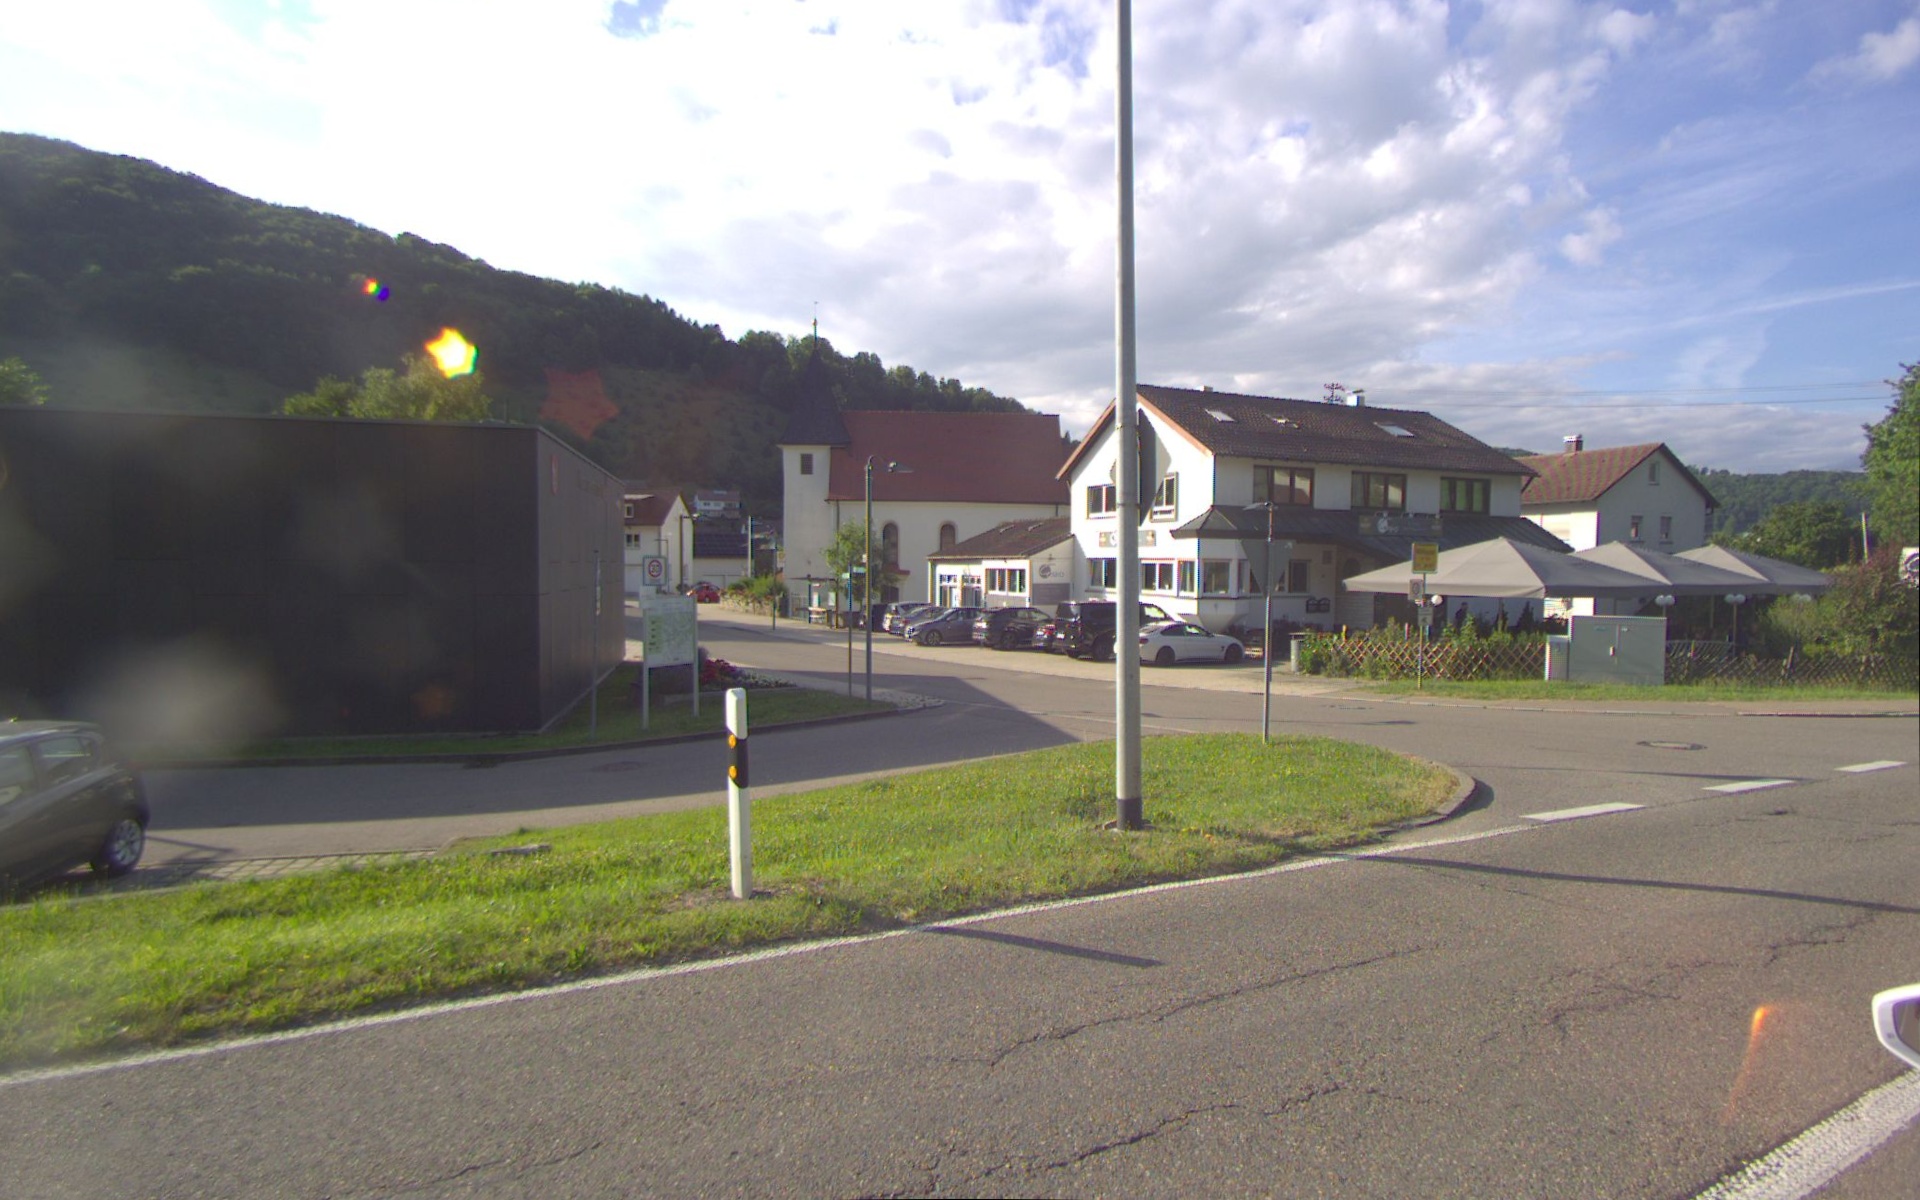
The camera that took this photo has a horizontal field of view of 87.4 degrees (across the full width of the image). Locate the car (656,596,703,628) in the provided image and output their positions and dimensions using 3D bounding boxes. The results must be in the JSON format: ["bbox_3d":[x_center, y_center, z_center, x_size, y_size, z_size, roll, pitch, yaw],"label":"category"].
[{"bbox_3d":[-15.562,0.625,55.640,1.867,1.706,3.974,0,0,-26],"label":"car"}]

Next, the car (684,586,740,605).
[{"bbox_3d":[-19.974,-0.373,81.043,1.972,1.528,3.977,1,0,43],"label":"car"}]

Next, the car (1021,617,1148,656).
[{"bbox_3d":[4.770,1.369,38.304,4.518,1.408,1.986,1,-1,-27],"label":"car"}]

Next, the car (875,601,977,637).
[{"bbox_3d":[-1.609,0.933,48.105,4.518,1.665,1.986,1,-1,-27],"label":"car"}]

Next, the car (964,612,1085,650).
[{"bbox_3d":[2.591,1.235,40.201,4.518,1.431,1.986,1,-1,-27],"label":"car"}]

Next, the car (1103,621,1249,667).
[{"bbox_3d":[7.105,1.399,32.976,4.518,1.408,1.986,1,-1,-27],"label":"car"}]

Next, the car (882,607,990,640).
[{"bbox_3d":[-1.065,1.050,45.507,4.518,1.431,1.986,1,-1,-27],"label":"car"}]

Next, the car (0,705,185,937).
[{"bbox_3d":[-8.331,1.801,8.014,1.801,1.555,3.991,1,-1,-12],"label":"car"}]

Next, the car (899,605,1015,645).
[{"bbox_3d":[-0.126,1.056,42.344,4.518,1.618,1.986,1,-1,-27],"label":"car"}]

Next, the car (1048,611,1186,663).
[{"bbox_3d":[5.516,1.276,35.155,4.518,1.707,1.986,1,-1,-27],"label":"car"}]
